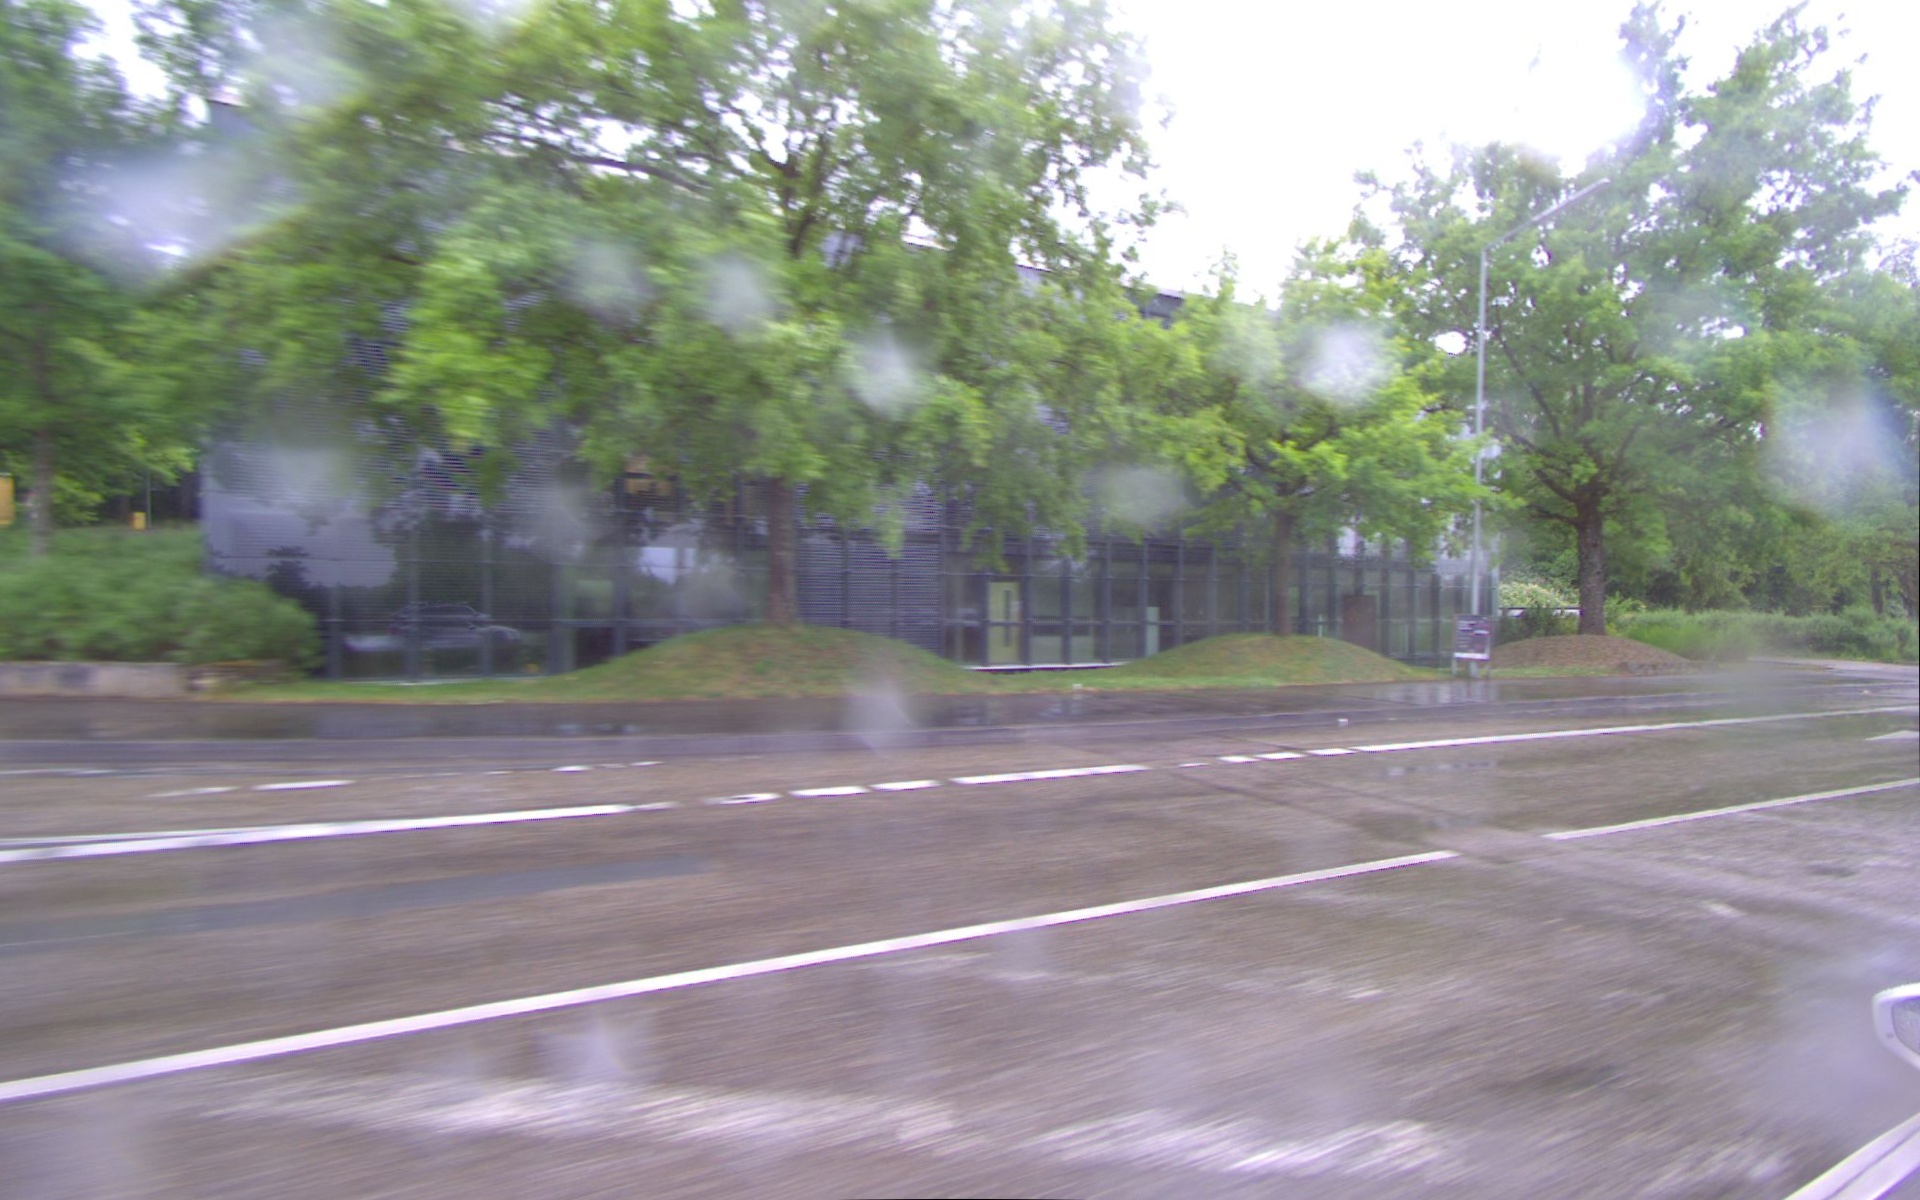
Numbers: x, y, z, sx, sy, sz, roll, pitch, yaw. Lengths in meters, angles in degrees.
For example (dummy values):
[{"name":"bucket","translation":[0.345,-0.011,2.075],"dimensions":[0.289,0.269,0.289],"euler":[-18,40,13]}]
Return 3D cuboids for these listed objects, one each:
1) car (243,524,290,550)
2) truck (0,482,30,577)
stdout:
[{"name":"car","translation":[-51.318,-4.662,74.393],"dimensions":[1.772,1.786,3.982],"euler":[1,3,-19]},{"name":"truck","translation":[-48.189,-3.432,46.796],"dimensions":[2.772,4.717,10.648],"euler":[0,2,-17]}]
